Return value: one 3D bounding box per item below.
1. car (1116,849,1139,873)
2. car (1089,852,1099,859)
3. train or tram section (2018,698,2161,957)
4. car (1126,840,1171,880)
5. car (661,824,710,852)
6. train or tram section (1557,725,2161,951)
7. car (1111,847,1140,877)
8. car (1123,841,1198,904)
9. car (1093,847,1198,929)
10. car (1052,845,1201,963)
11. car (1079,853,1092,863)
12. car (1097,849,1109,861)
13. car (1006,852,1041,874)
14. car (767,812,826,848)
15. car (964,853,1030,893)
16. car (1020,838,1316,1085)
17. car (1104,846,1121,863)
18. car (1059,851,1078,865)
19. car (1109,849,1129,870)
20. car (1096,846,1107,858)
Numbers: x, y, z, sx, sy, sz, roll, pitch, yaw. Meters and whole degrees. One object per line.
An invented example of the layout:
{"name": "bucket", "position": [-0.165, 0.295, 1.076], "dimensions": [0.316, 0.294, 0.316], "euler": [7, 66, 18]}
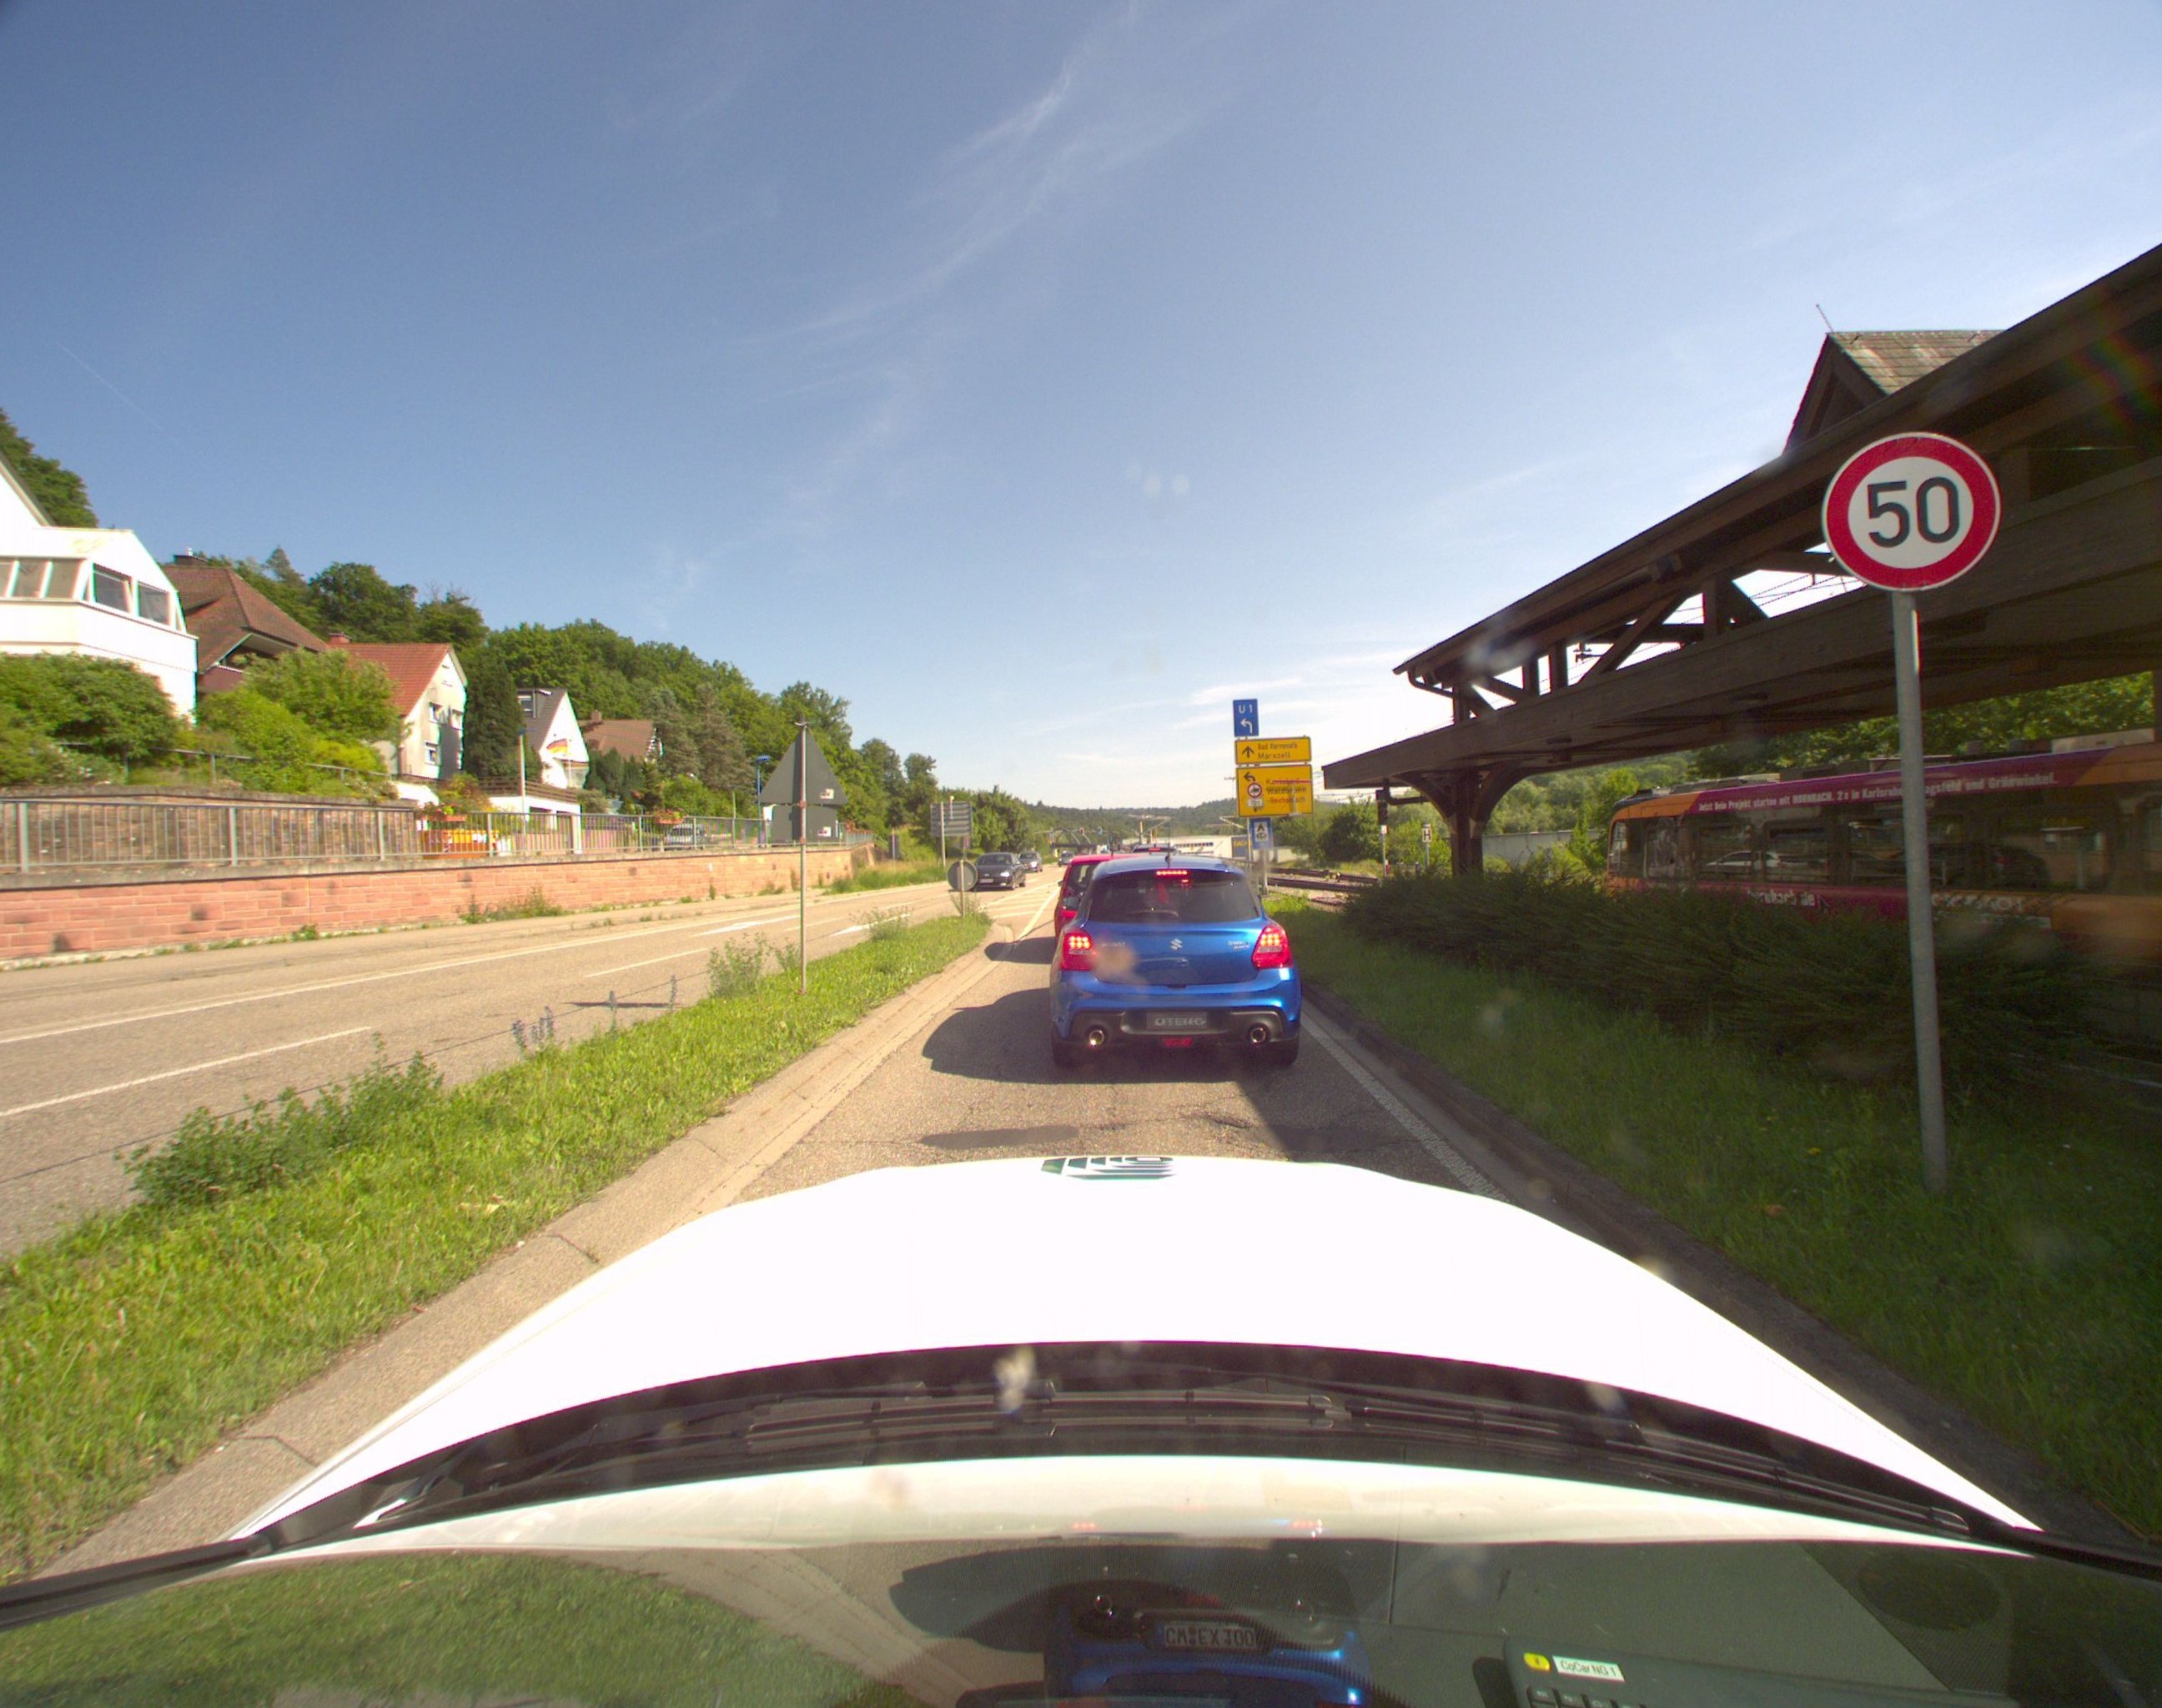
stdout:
{"name": "car", "position": [4.196, 0.613, 74.326], "dimensions": [1.986, 2.013, 4.002], "euler": [1, 1, 2]}
{"name": "car", "position": [2.836, 0.244, 177.352], "dimensions": [1.986, 1.554, 4.217], "euler": [0, 0, 2]}
{"name": "train or tram section", "position": [15.451, -0.362, 6.216], "dimensions": [2.777, 3.364, 12.045], "euler": [0, 0, 0]}
{"name": "car", "position": [3.102, 0.258, 38.090], "dimensions": [1.985, 1.736, 4.004], "euler": [1, 0, 3]}
{"name": "car", "position": [-24.441, -0.990, 50.410], "dimensions": [1.898, 1.629, 3.981], "euler": [-1, 0, -14]}
{"name": "train or tram section", "position": [15.527, -0.297, 18.218], "dimensions": [2.747, 3.364, 12.047], "euler": [0, 1, 0]}
{"name": "car", "position": [3.144, 0.541, 58.792], "dimensions": [1.986, 2.013, 4.002], "euler": [1, 1, 2]}
{"name": "car", "position": [2.279, 0.485, 24.179], "dimensions": [1.985, 1.686, 4.501], "euler": [1, 0, 3]}
{"name": "car", "position": [1.397, 0.642, 18.111], "dimensions": [1.985, 1.531, 4.606], "euler": [-2, 0, 3]}
{"name": "car", "position": [0.726, 0.670, 12.855], "dimensions": [1.985, 1.571, 4.004], "euler": [0, 0, 3]}
{"name": "car", "position": [0.790, 0.696, 140.314], "dimensions": [1.986, 1.783, 4.002], "euler": [0, 0, 2]}
{"name": "car", "position": [3.761, 0.125, 136.744], "dimensions": [1.986, 1.816, 4.002], "euler": [1, 1, 2]}
{"name": "car", "position": [-4.231, 0.651, 61.047], "dimensions": [1.985, 1.564, 4.514], "euler": [-1, 0, 4]}
{"name": "car", "position": [-16.045, -1.317, 46.142], "dimensions": [2.017, 1.920, 4.724], "euler": [0, 1, -5]}
{"name": "car", "position": [-3.322, 0.702, 33.103], "dimensions": [1.783, 1.470, 4.722], "euler": [-1, 0, 5]}
{"name": "car", "position": [0.598, 0.675, 7.184], "dimensions": [1.862, 1.548, 4.001], "euler": [-1, 0, 1]}
{"name": "car", "position": [3.827, 0.046, 99.610], "dimensions": [1.986, 2.013, 4.002], "euler": [1, 1, 2]}
{"name": "car", "position": [-1.285, 0.416, 84.833], "dimensions": [1.665, 1.441, 3.843], "euler": [-1, 0, 3]}
{"name": "car", "position": [3.967, 0.553, 85.481], "dimensions": [1.986, 2.013, 4.002], "euler": [1, 1, 2]}
{"name": "car", "position": [3.852, -0.427, 152.109], "dimensions": [1.986, 2.144, 4.722], "euler": [0, 0, 2]}
